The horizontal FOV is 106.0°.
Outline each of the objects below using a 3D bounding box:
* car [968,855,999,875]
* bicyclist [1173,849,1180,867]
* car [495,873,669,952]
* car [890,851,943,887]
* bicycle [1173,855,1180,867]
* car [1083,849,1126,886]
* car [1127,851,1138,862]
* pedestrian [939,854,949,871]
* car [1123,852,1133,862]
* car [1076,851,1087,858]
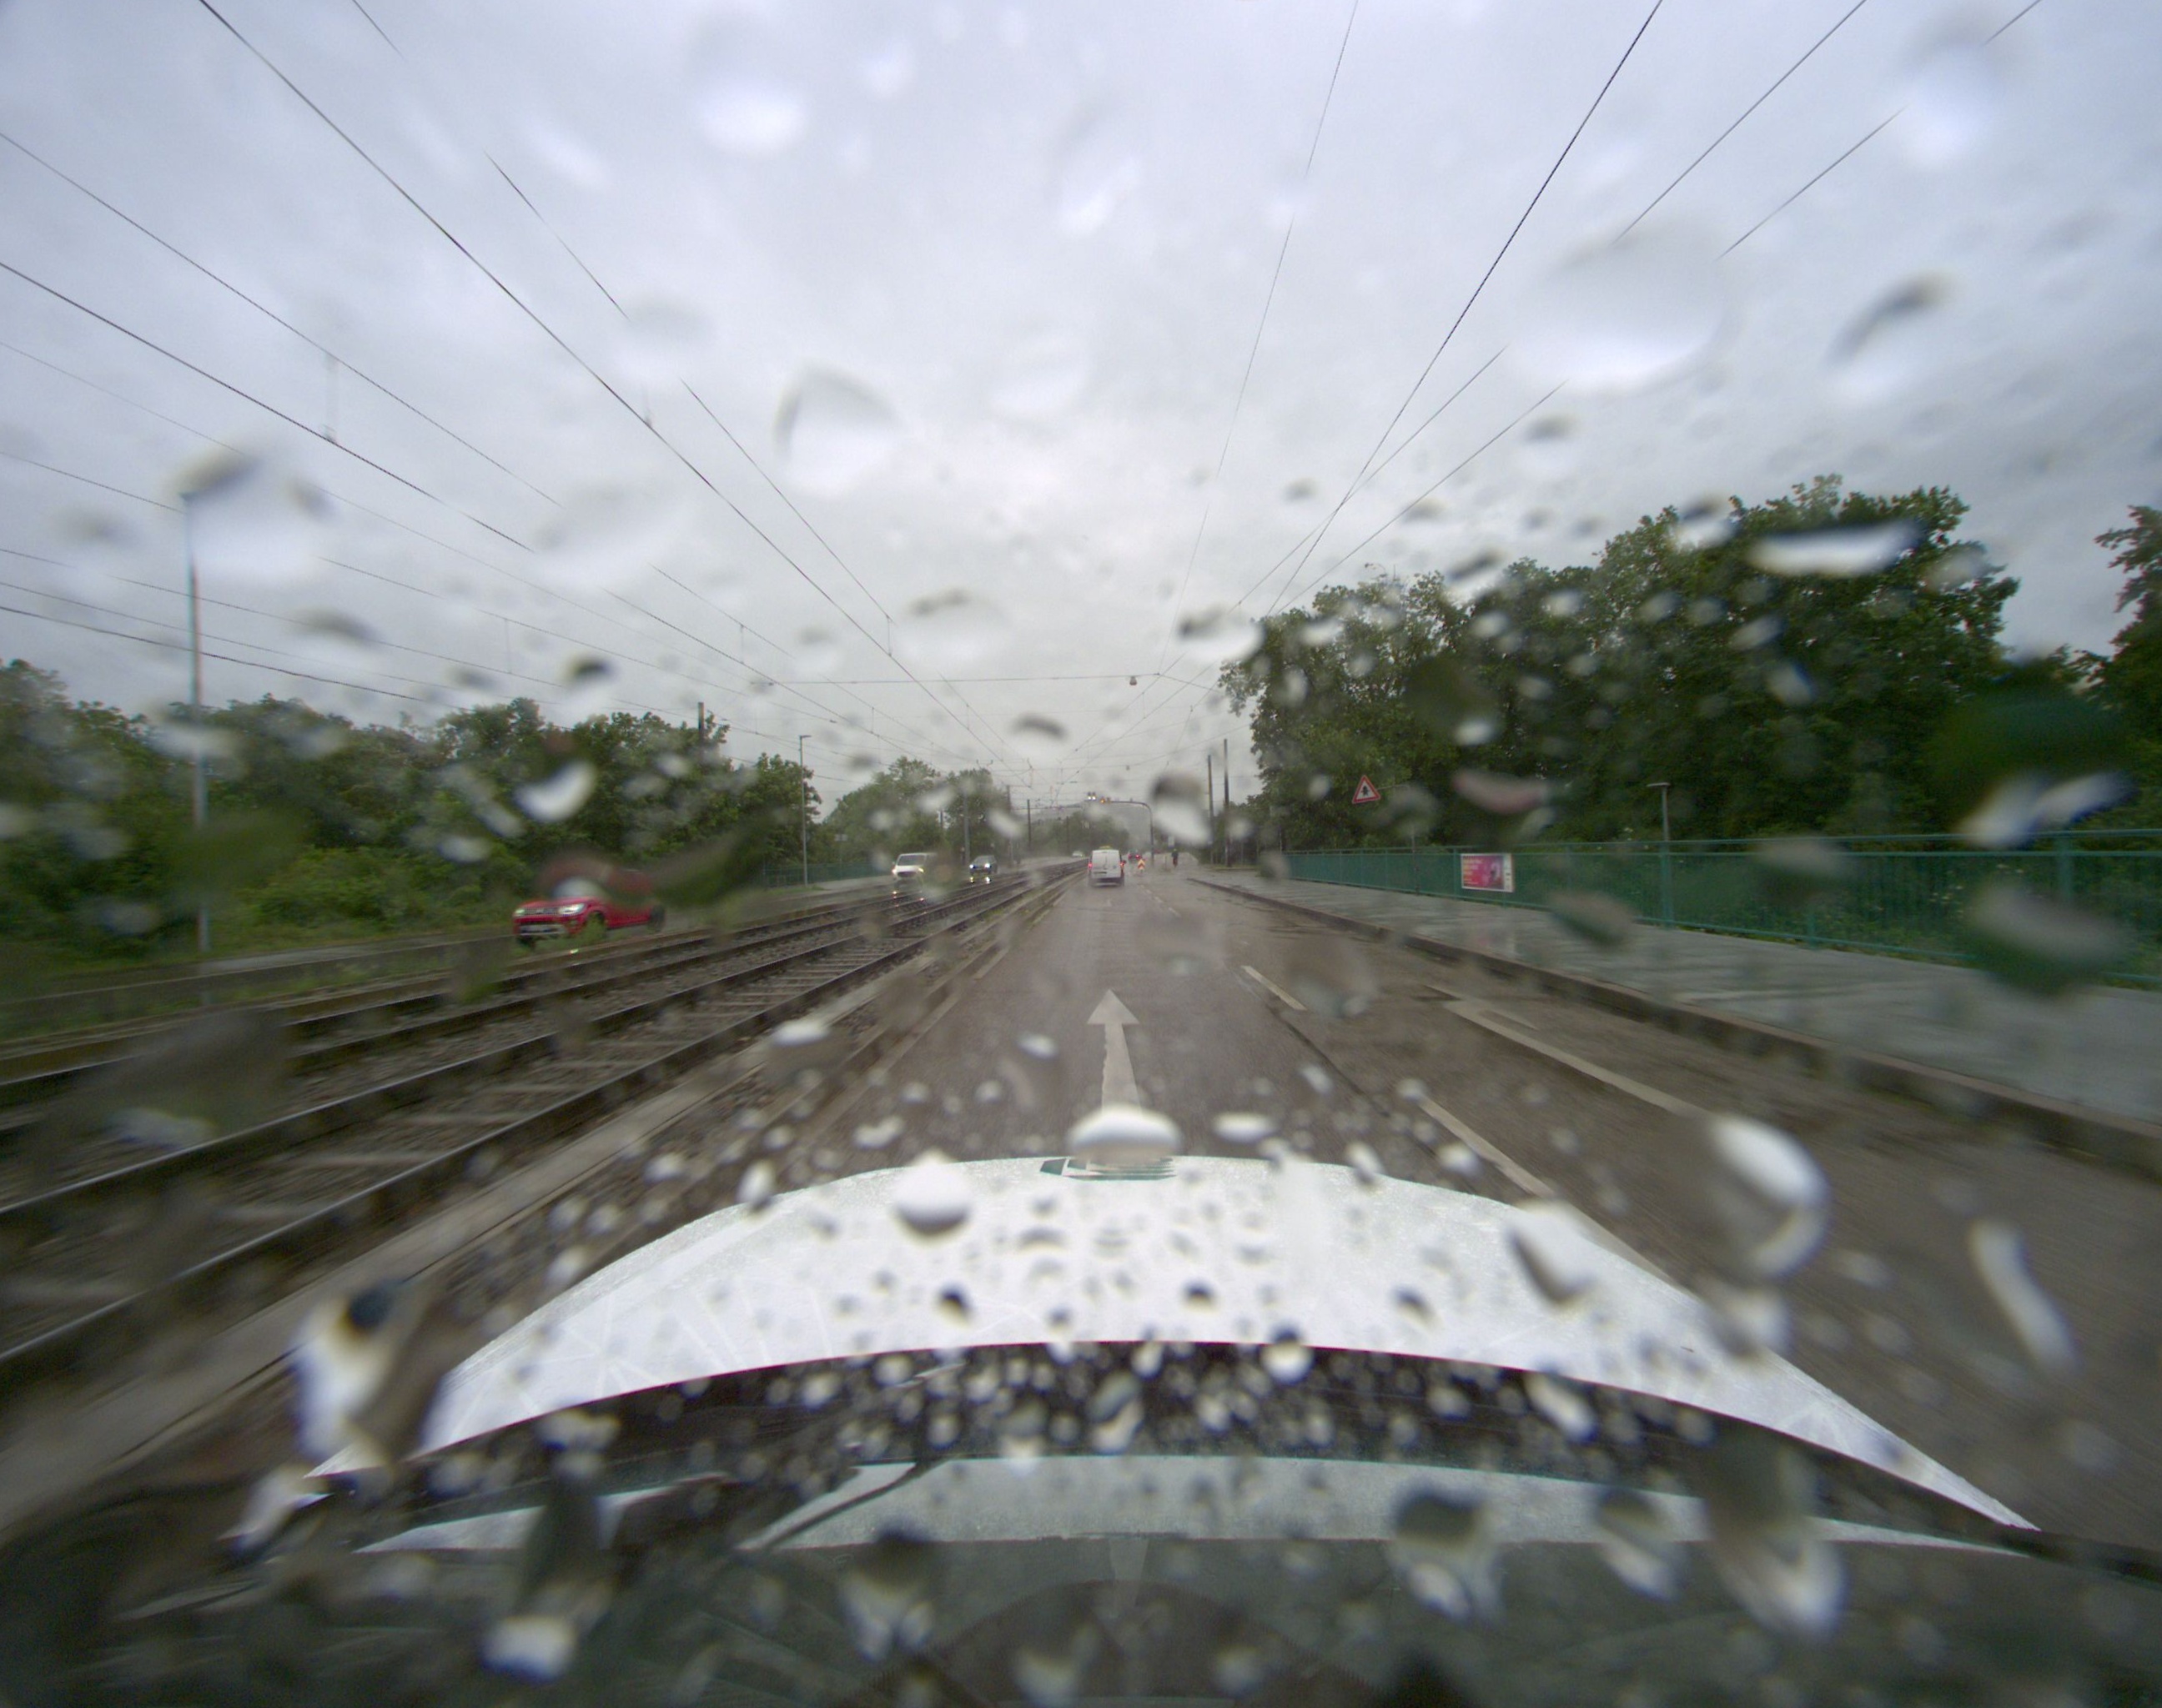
[{"bbox_3d":[-8.479,0.899,71.246,1.986,1.649,5.373,0,0,1],"label":"car"},{"bbox_3d":[9.504,0.426,80.931,0.722,1.764,0.951,0,-1,6],"label":"bicyclist"},{"bbox_3d":[-11.400,1.274,18.937,1.717,1.601,3.652,0,-1,1],"label":"car"},{"bbox_3d":[-9.779,0.841,48.829,1.986,2.044,5.030,0,0,1],"label":"car"},{"bbox_3d":[9.497,0.719,80.993,0.719,1.129,2.171,0,0,6],"label":"bicycle"},{"bbox_3d":[1.233,0.656,40.258,1.985,1.726,4.004,0,-1,3],"label":"car"},{"bbox_3d":[7.025,0.352,111.260,1.445,1.499,2.983,0,-1,2],"label":"car"},{"bbox_3d":[-15.038,0.916,89.310,0.860,1.819,1.044,0,-1,4],"label":"pedestrian"},{"bbox_3d":[7.323,0.509,127.241,1.445,1.499,2.983,0,-1,2],"label":"car"},{"bbox_3d":[0.087,0.049,179.785,1.925,1.231,4.107,-4,1,6],"label":"car"}]
